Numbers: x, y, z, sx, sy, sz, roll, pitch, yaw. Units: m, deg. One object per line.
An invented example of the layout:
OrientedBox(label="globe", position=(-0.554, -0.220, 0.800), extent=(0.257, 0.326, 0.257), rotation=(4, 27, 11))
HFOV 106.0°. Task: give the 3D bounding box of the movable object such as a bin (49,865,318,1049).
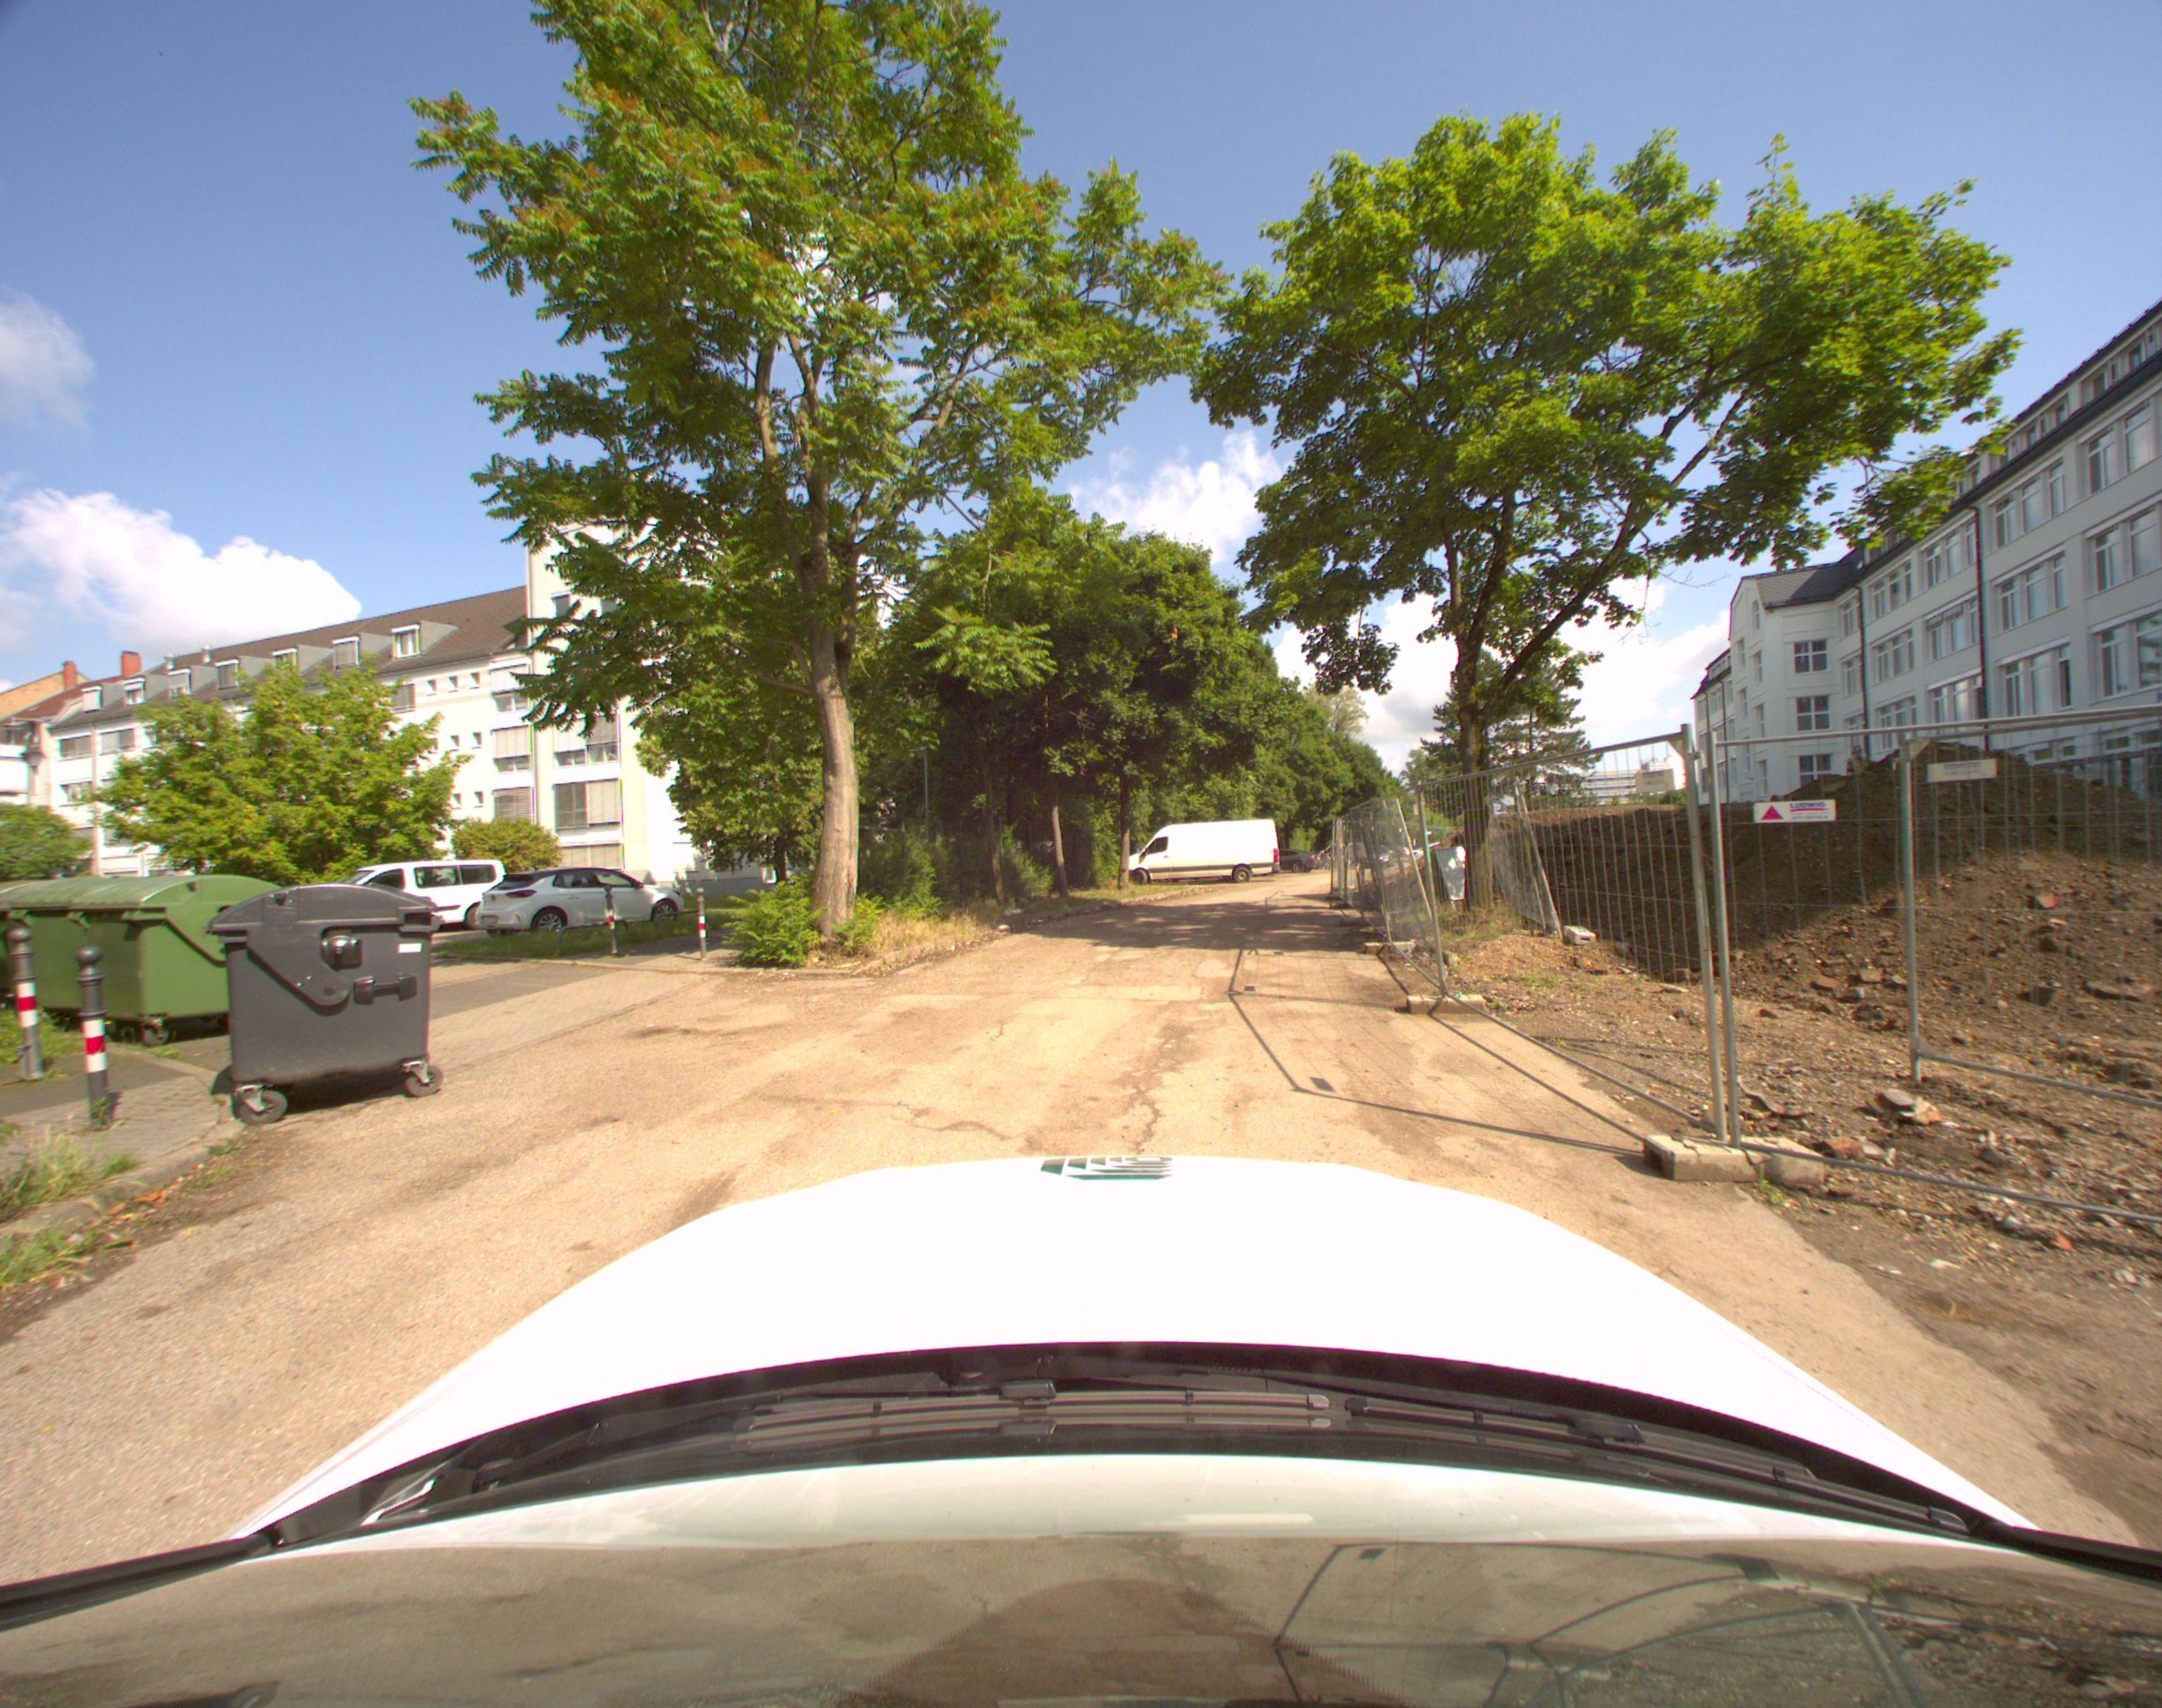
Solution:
OrientedBox(label="movable object such as a bin", position=(-8.111, 0.866, 7.413), extent=(1.328, 1.452, 1.108), rotation=(2, -2, 18))

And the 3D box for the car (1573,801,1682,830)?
OrientedBox(label="car", position=(30.119, -2.144, 45.039), extent=(4.808, 1.428, 1.855), rotation=(2, -2, 27))

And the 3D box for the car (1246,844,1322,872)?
OrientedBox(label="car", position=(11.693, 0.242, 46.872), extent=(3.952, 1.428, 1.854), rotation=(2, -2, 23))

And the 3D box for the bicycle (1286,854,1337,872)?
OrientedBox(label="bicycle", position=(14.163, 0.564, 50.054), extent=(2.851, 0.991, 1.023), rotation=(2, -2, 25))

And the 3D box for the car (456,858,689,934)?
OrientedBox(label="car", position=(-10.830, 0.810, 17.660), extent=(1.737, 1.420, 3.939), rotation=(1, 0, 26))

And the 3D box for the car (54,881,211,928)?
OrientedBox(label="car", position=(-41.623, 2.142, 35.855), extent=(1.927, 1.745, 4.020), rotation=(3, 0, 21))

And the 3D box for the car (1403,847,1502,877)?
OrientedBox(label="car", position=(20.479, 0.441, 44.926), extent=(4.808, 1.428, 1.855), rotation=(2, -2, 27))

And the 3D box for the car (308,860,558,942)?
OrientedBox(label="car", position=(-17.555, 1.189, 22.399), extent=(1.975, 1.965, 4.985), rotation=(-1, -1, 28))

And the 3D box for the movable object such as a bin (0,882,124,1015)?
OrientedBox(label="movable object such as a bin", position=(-11.899, 1.019, 9.164), extent=(1.365, 1.349, 0.951), rotation=(2, -2, 20))

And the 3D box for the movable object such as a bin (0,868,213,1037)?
OrientedBox(label="movable object such as a bin", position=(-9.409, 0.902, 7.876), extent=(1.220, 1.452, 0.884), rotation=(2, -2, 20))

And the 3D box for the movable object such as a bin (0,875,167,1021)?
OrientedBox(label="movable object such as a bin", position=(-10.606, 0.930, 8.493), extent=(1.220, 1.349, 0.951), rotation=(2, -2, 19))

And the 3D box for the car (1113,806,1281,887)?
OrientedBox(label="car", position=(5.020, -0.345, 35.401), extent=(6.909, 3.047, 2.006), rotation=(3, 0, 10))

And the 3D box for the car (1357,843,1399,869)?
OrientedBox(label="car", position=(18.920, 0.157, 51.737), extent=(1.821, 1.428, 4.024), rotation=(2, -2, 29))

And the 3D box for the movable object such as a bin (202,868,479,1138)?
OrientedBox(label="movable object such as a bin", position=(-4.923, 0.853, 5.463), extent=(1.257, 1.482, 1.280), rotation=(0, -1, -44))
